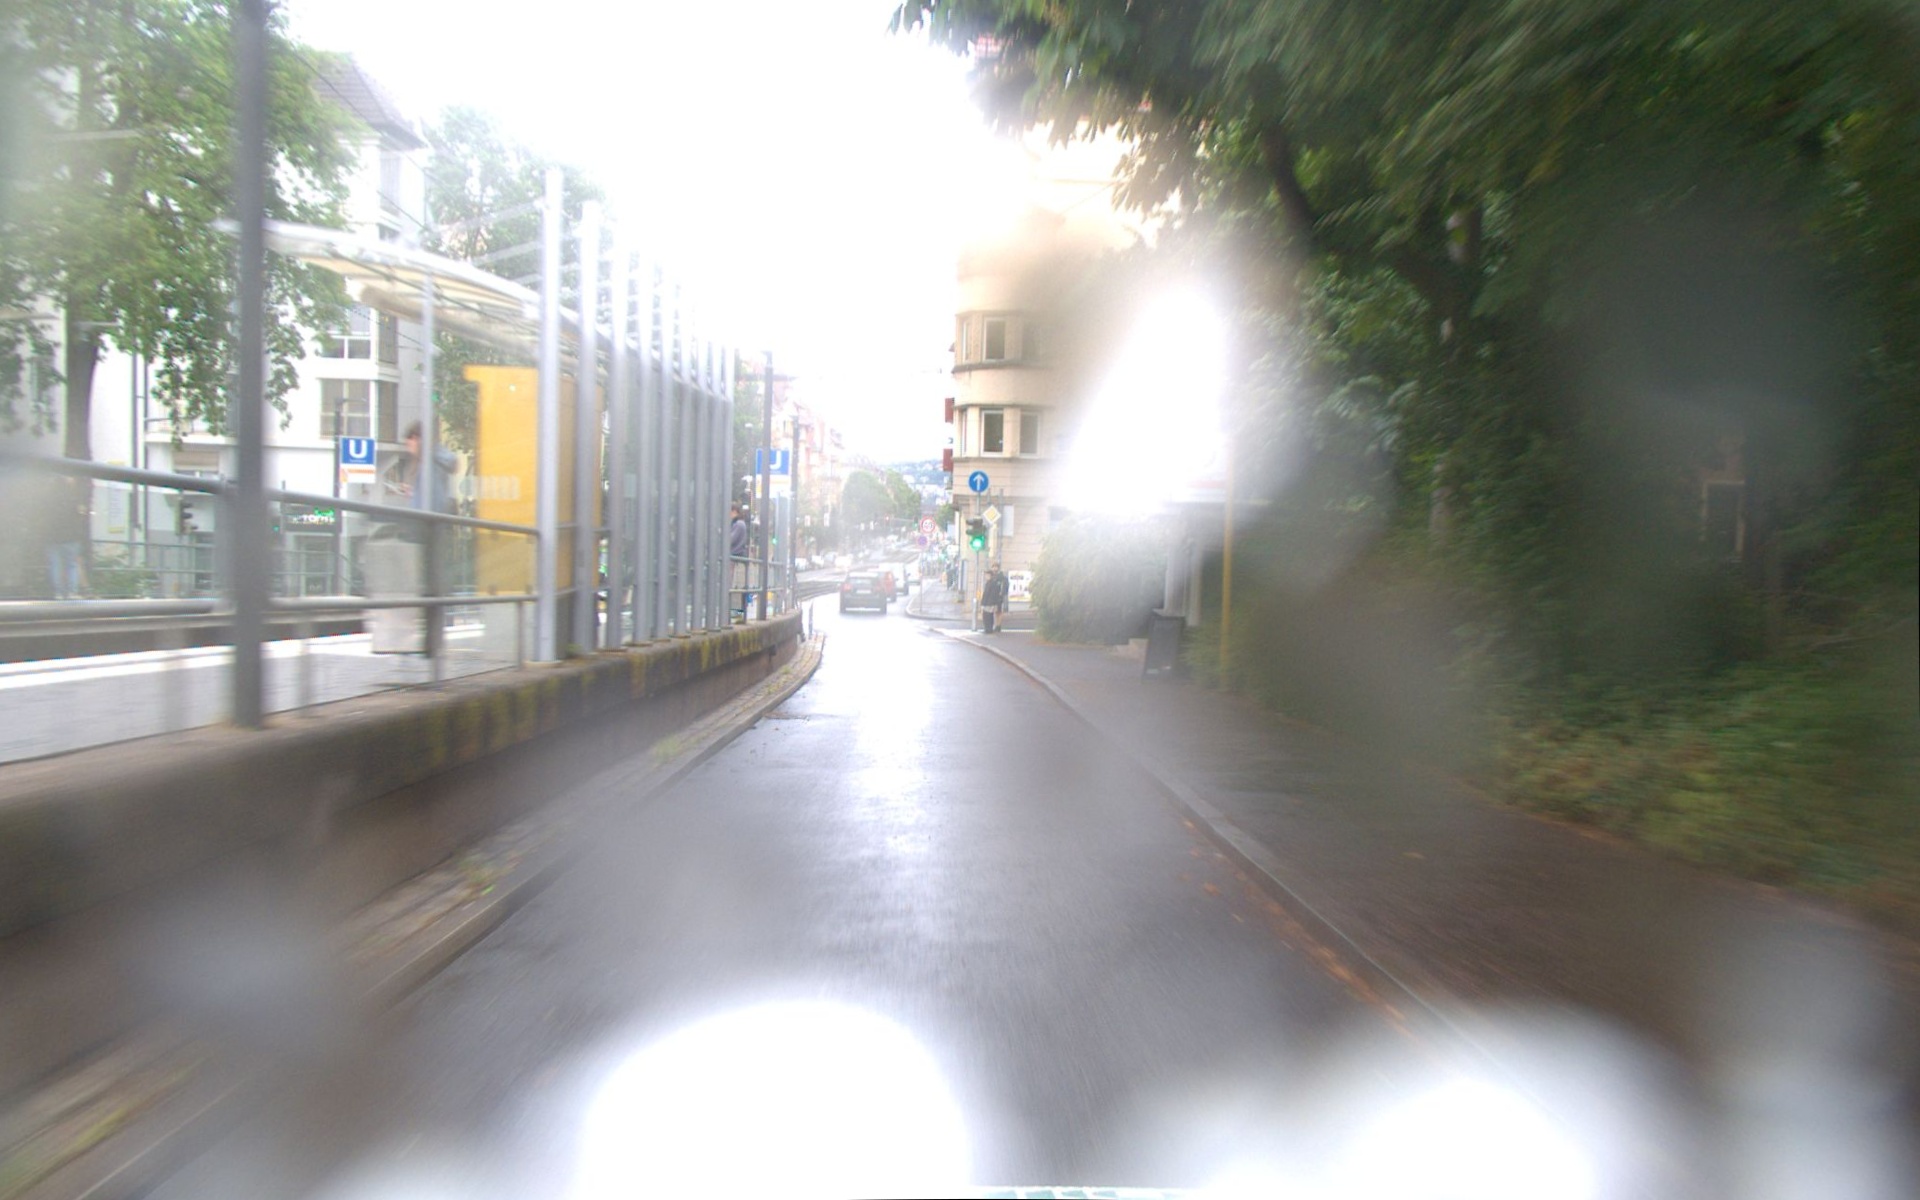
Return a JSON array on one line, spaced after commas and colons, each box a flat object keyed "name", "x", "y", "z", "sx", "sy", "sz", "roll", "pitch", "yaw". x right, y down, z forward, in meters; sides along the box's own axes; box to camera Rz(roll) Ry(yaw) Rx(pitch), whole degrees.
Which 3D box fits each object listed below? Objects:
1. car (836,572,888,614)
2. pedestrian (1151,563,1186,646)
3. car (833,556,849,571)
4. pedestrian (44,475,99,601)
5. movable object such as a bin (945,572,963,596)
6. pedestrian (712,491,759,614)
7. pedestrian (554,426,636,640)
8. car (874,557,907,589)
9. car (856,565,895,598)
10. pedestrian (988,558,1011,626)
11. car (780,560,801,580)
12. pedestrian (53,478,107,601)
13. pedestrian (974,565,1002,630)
[{"name": "car", "x": -3.639, "y": -0.289, "z": 61.841, "sx": 1.814, "sy": 1.499, "sz": 3.999, "roll": 1, "pitch": 1, "yaw": -2}, {"name": "pedestrian", "x": 4.564, "y": 0.104, "z": 36.207, "sx": 0.590, "sy": 1.776, "sz": 0.614, "roll": 2, "pitch": 0, "yaw": -2}, {"name": "car", "x": -16.485, "y": -5.070, "z": 229.594, "sx": 1.953, "sy": 2.048, "sz": 4.345, "roll": 1, "pitch": 1, "yaw": -2}, {"name": "pedestrian", "x": -12.643, "y": -0.874, "z": 23.539, "sx": 0.472, "sy": 1.772, "sz": 0.563, "roll": 0, "pitch": 0, "yaw": -1}, {"name": "movable object such as a bin", "x": -0.435, "y": -1.150, "z": 116.744, "sx": 1.145, "sy": 1.684, "sz": 1.308, "roll": 0, "pitch": 1, "yaw": -5}, {"name": "pedestrian", "x": -3.452, "y": -0.723, "z": 25.480, "sx": 0.577, "sy": 1.839, "sz": 0.660, "roll": 2, "pitch": 0, "yaw": -2}, {"name": "pedestrian", "x": -3.356, "y": -0.607, "z": 15.252, "sx": 0.577, "sy": 1.914, "sz": 0.711, "roll": 1, "pitch": 0, "yaw": -2}, {"name": "car", "x": -4.241, "y": -1.601, "z": 100.262, "sx": 1.909, "sy": 1.824, "sz": 4.142, "roll": 2, "pitch": 0, "yaw": -3}, {"name": "car", "x": -4.061, "y": -0.901, "z": 80.157, "sx": 1.815, "sy": 1.499, "sz": 3.998, "roll": 2, "pitch": 0, "yaw": -3}, {"name": "pedestrian", "x": 1.074, "y": -0.213, "z": 45.495, "sx": 0.543, "sy": 1.845, "sz": 0.650, "roll": 1, "pitch": 0, "yaw": -3}, {"name": "car", "x": -18.859, "y": -3.332, "z": 184.247, "sx": 1.953, "sy": 2.049, "sz": 4.345, "roll": 0, "pitch": 0, "yaw": -2}, {"name": "pedestrian", "x": -12.830, "y": -0.874, "z": 24.125, "sx": 0.472, "sy": 1.772, "sz": 0.563, "roll": 0, "pitch": 0, "yaw": -1}, {"name": "pedestrian", "x": 0.767, "y": -0.076, "z": 44.857, "sx": 0.681, "sy": 1.724, "sz": 0.555, "roll": 1, "pitch": 0, "yaw": -4}]
